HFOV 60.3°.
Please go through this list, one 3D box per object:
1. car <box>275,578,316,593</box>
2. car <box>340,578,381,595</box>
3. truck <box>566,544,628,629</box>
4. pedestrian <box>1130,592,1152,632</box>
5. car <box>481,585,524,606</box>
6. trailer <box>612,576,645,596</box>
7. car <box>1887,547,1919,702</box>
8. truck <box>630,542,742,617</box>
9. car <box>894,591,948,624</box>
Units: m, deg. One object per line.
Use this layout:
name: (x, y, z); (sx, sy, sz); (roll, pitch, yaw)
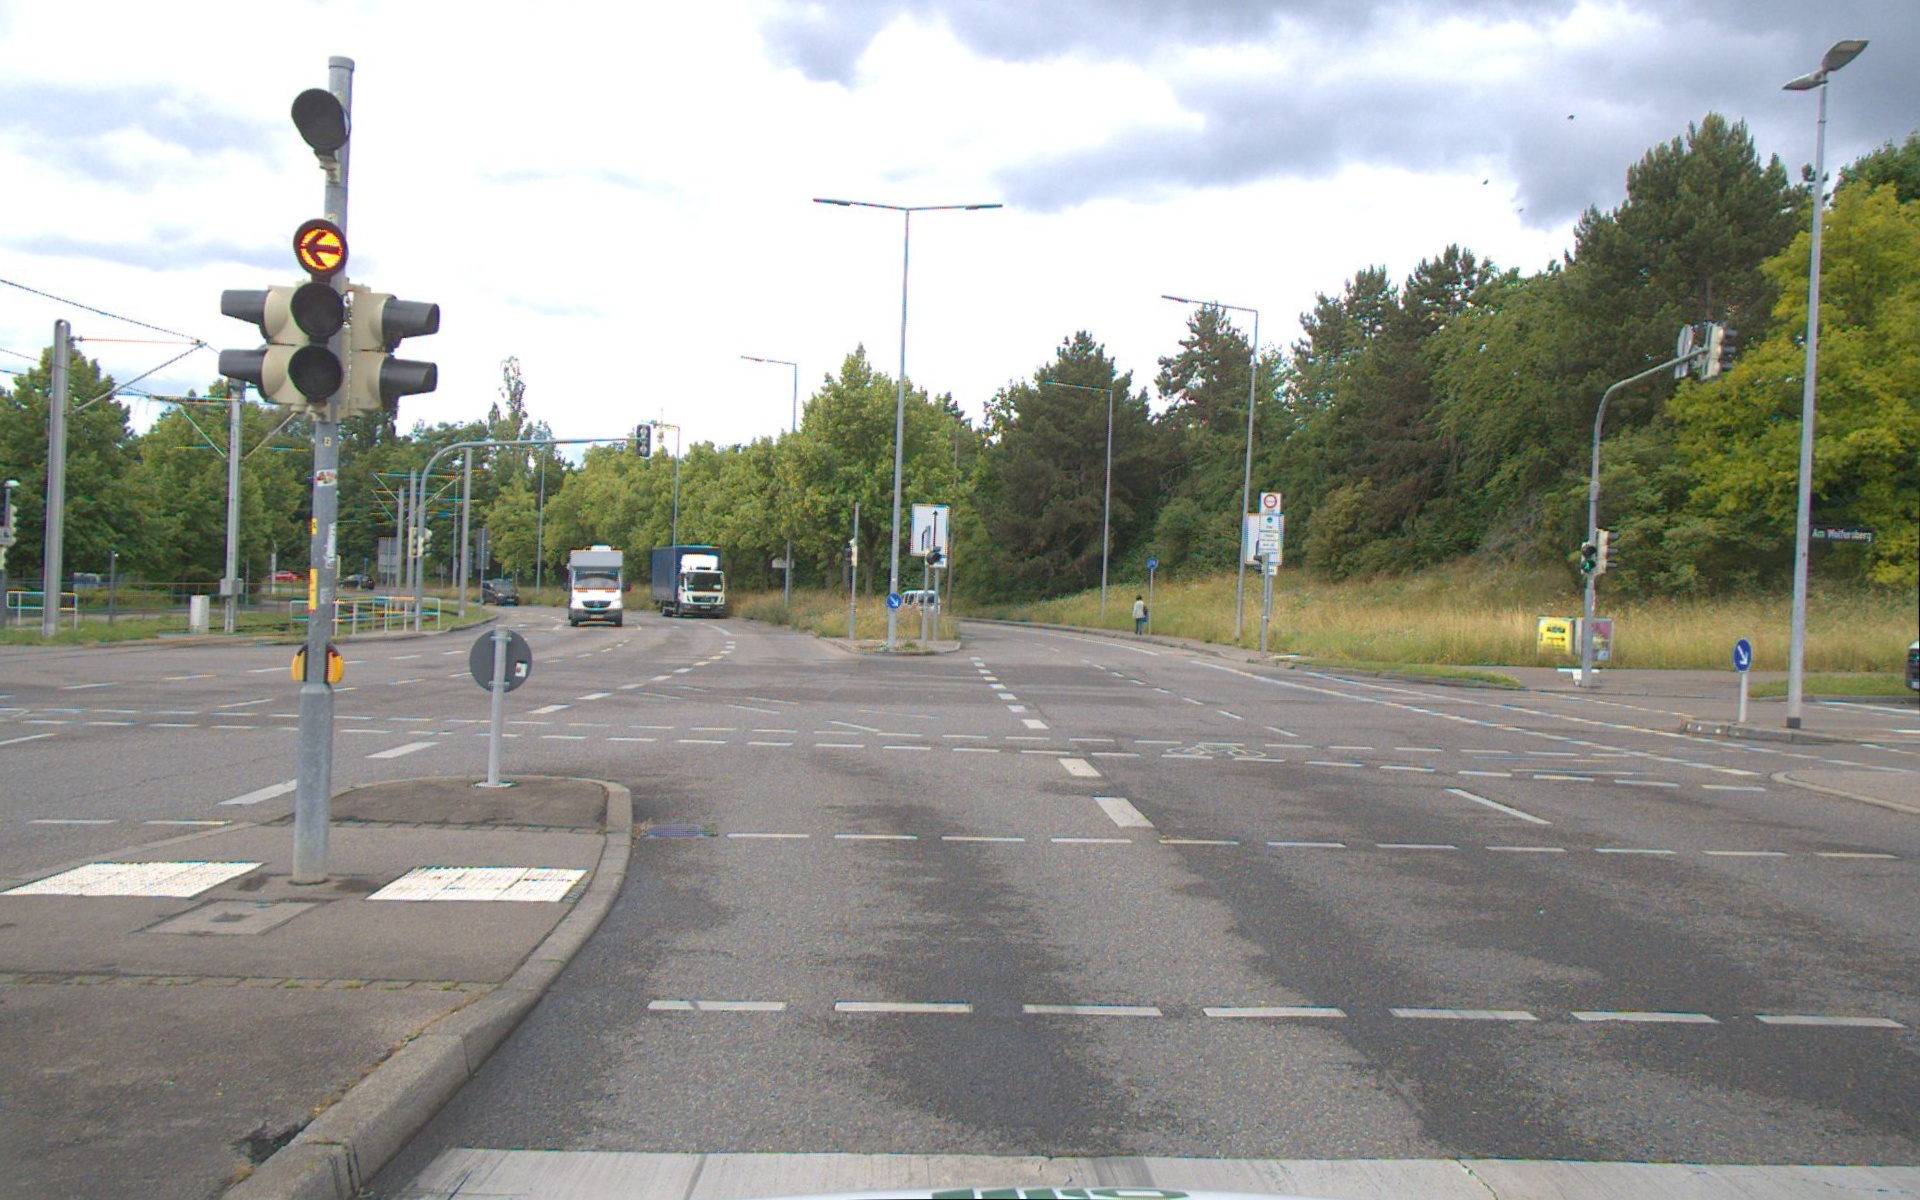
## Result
car: (-69.740, -1.506, 173.567); (3.934, 1.573, 1.781); (1, 0, 28)
car: (-61.142, -1.380, 168.786); (3.936, 1.573, 1.781); (1, 0, 29)
truck: (-14.247, -0.502, 65.181); (2.077, 3.190, 5.886); (1, 0, -10)
pedestrian: (7.590, 0.505, 69.511); (0.797, 1.656, 0.790); (1, 0, -1)
car: (-34.649, -0.351, 125.163); (1.766, 1.471, 4.474); (-1, 3, -34)
trailer: (-28.044, -1.175, 139.998); (1.749, 1.644, 3.008); (1, 0, -34)
car: (20.337, 0.468, 30.089); (5.772, 2.830, 2.135); (0, 0, -1)
truck: (-15.397, -1.058, 91.900); (3.009, 3.826, 12.717); (1, 0, -24)
car: (-2.262, 0.417, 94.742); (1.962, 1.833, 4.817); (1, 0, -16)
